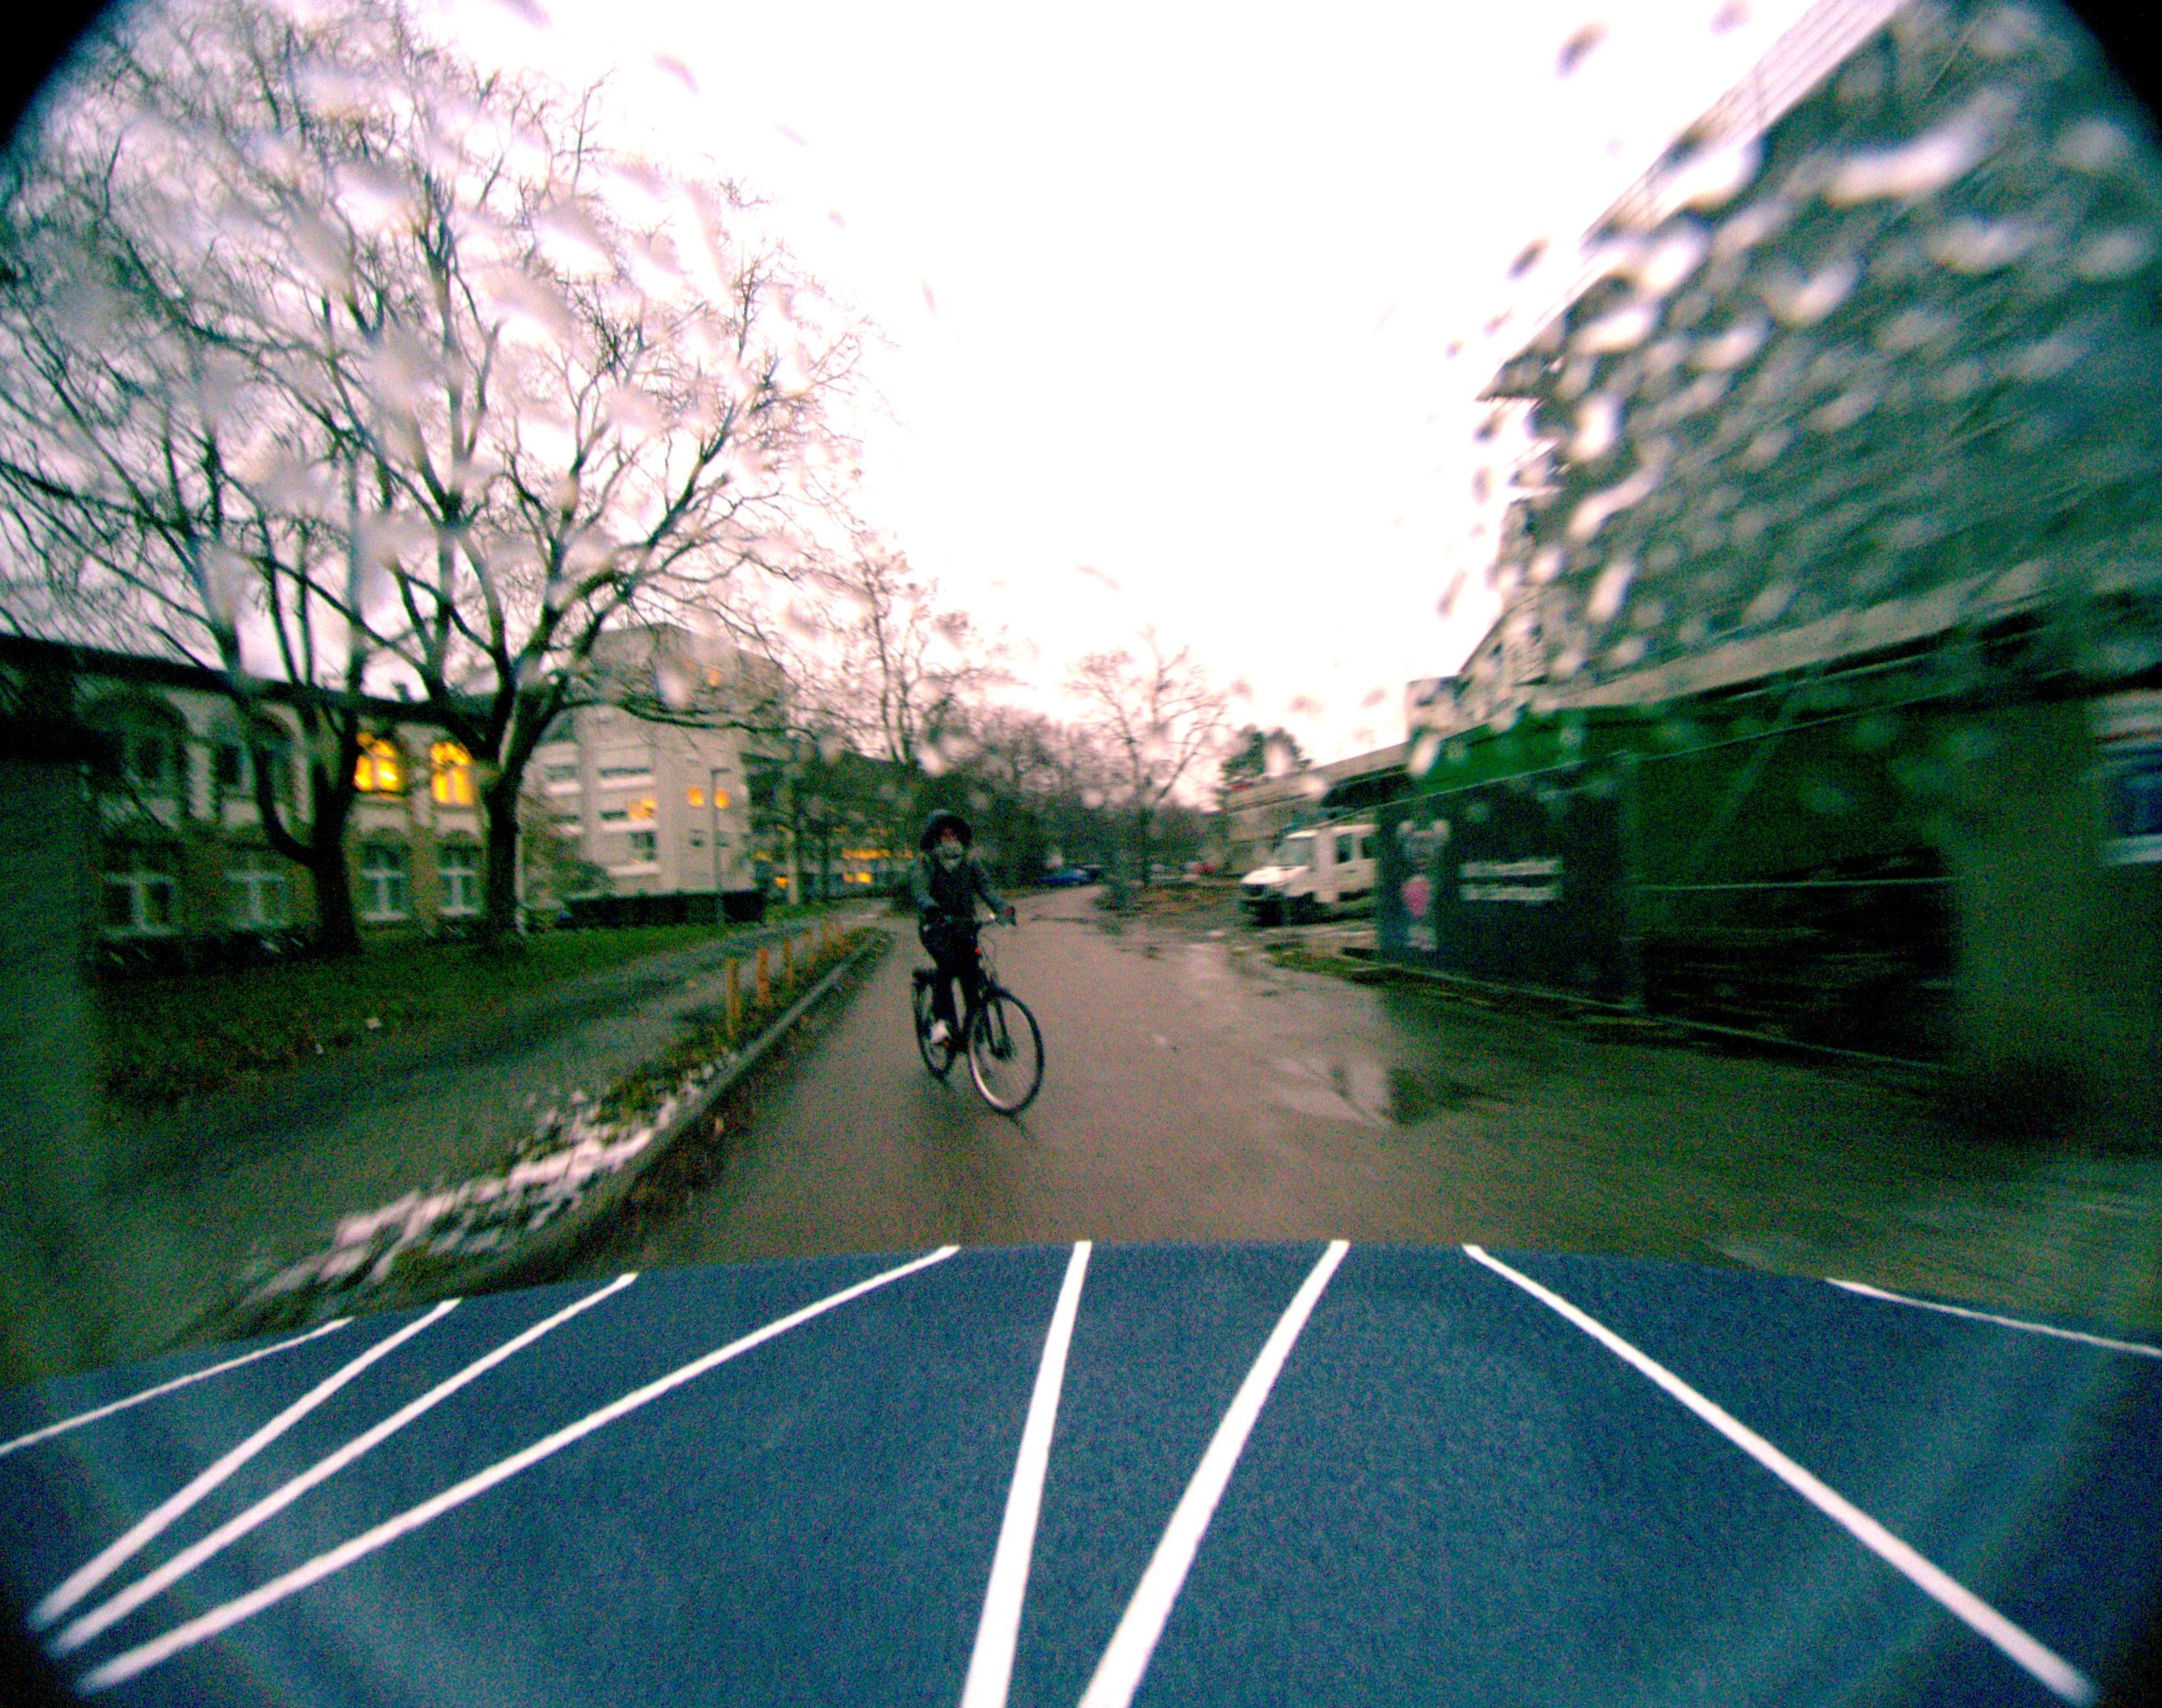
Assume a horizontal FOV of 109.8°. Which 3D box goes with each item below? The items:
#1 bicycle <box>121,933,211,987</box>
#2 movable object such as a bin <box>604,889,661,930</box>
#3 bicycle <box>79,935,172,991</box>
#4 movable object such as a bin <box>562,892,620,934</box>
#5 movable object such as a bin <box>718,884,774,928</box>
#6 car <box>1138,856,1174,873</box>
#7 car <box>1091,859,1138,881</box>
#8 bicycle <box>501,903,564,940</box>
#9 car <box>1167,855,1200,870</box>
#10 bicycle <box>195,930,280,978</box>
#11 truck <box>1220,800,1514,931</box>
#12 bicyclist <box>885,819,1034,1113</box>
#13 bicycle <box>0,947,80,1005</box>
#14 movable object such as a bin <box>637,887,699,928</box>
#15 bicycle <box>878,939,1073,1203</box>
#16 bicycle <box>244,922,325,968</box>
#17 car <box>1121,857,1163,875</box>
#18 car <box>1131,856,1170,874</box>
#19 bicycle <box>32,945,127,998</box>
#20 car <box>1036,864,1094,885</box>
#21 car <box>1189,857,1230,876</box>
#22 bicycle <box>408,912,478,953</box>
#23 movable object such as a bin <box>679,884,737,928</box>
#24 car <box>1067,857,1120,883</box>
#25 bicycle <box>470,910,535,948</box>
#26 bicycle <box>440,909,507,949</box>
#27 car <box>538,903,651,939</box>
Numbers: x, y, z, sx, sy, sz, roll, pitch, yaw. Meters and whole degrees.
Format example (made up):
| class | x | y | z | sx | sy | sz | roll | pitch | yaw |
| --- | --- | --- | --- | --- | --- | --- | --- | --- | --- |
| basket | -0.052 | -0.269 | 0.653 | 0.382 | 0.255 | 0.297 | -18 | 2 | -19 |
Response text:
| class | x | y | z | sx | sy | sz | roll | pitch | yaw |
| --- | --- | --- | --- | --- | --- | --- | --- | --- | --- |
| bicycle | -21.216 | 2.456 | 17.610 | 2.137 | 1.150 | 0.574 | -3 | 0 | 19 |
| movable object such as a bin | -15.141 | 1.868 | 25.655 | 1.249 | 1.272 | 0.989 | -3 | 0 | 12 |
| bicycle | -21.405 | 2.444 | 17.018 | 2.137 | 1.150 | 0.574 | -3 | 0 | 19 |
| movable object such as a bin | -16.681 | 1.993 | 25.891 | 1.261 | 1.306 | 0.989 | -3 | 0 | 12 |
| movable object such as a bin | -10.903 | 1.689 | 24.790 | 1.323 | 1.309 | 1.063 | -2 | 0 | -1 |
| car | 9.114 | 1.293 | 92.707 | 3.992 | 1.785 | 1.804 | -3 | 0 | 19 |
| car | 3.179 | 1.497 | 72.108 | 3.992 | 1.785 | 1.804 | -3 | 0 | 19 |
| bicycle | -18.811 | 2.315 | 26.047 | 2.137 | 1.150 | 0.574 | -3 | 0 | 19 |
| car | 13.875 | 1.162 | 103.023 | 3.992 | 1.785 | 1.804 | -3 | 0 | 19 |
| bicycle | -20.890 | 2.478 | 18.812 | 2.137 | 1.085 | 0.574 | -3 | 0 | 19 |
| truck | 7.287 | 0.211 | 19.276 | 7.085 | 2.573 | 2.129 | -5 | 0 | -19 |
| bicyclist | -0.803 | 0.650 | 4.880 | 0.707 | 1.679 | 0.770 | -3 | 0 | -22 |
| bicycle | -21.812 | 2.512 | 15.773 | 2.137 | 1.044 | 0.574 | -2 | 1 | 19 |
| movable object such as a bin | -13.737 | 1.778 | 25.300 | 1.436 | 1.218 | 0.989 | -3 | 0 | 12 |
| bicycle | -0.770 | 1.215 | 4.865 | 0.731 | 1.126 | 1.891 | -3 | 0 | -22 |
| bicycle | -20.646 | 2.357 | 19.690 | 2.137 | 1.104 | 0.574 | -3 | 0 | 19 |
| car | 6.615 | 1.313 | 82.409 | 3.992 | 1.652 | 2.003 | -3 | 0 | 19 |
| car | 7.800 | 1.198 | 85.039 | 3.992 | 1.785 | 1.804 | -3 | 0 | 19 |
| bicycle | -21.618 | 2.512 | 16.397 | 2.137 | 1.011 | 0.574 | -1 | 1 | 19 |
| car | -1.243 | 1.653 | 59.901 | 4.173 | 1.468 | 2.003 | -3 | -3 | 16 |
| car | 11.428 | 1.108 | 67.542 | 3.303 | 1.514 | 1.706 | -3 | 0 | 15 |
| bicycle | -19.540 | 2.421 | 23.281 | 2.137 | 1.150 | 0.574 | -3 | 0 | 19 |
| movable object such as a bin | -12.297 | 1.707 | 25.090 | 1.305 | 1.306 | 0.989 | -3 | 0 | 12 |
| car | 1.077 | 1.405 | 65.414 | 3.992 | 1.980 | 2.003 | -3 | 0 | 19 |
| bicycle | -19.134 | 2.495 | 25.123 | 2.137 | 1.150 | 0.574 | -3 | 0 | 19 |
| bicycle | -19.311 | 2.383 | 24.142 | 2.137 | 1.150 | 0.574 | -3 | 0 | 19 |
| car | -22.875 | 3.112 | 35.914 | 1.996 | 1.273 | 4.006 | -3 | 0 | 22 |
